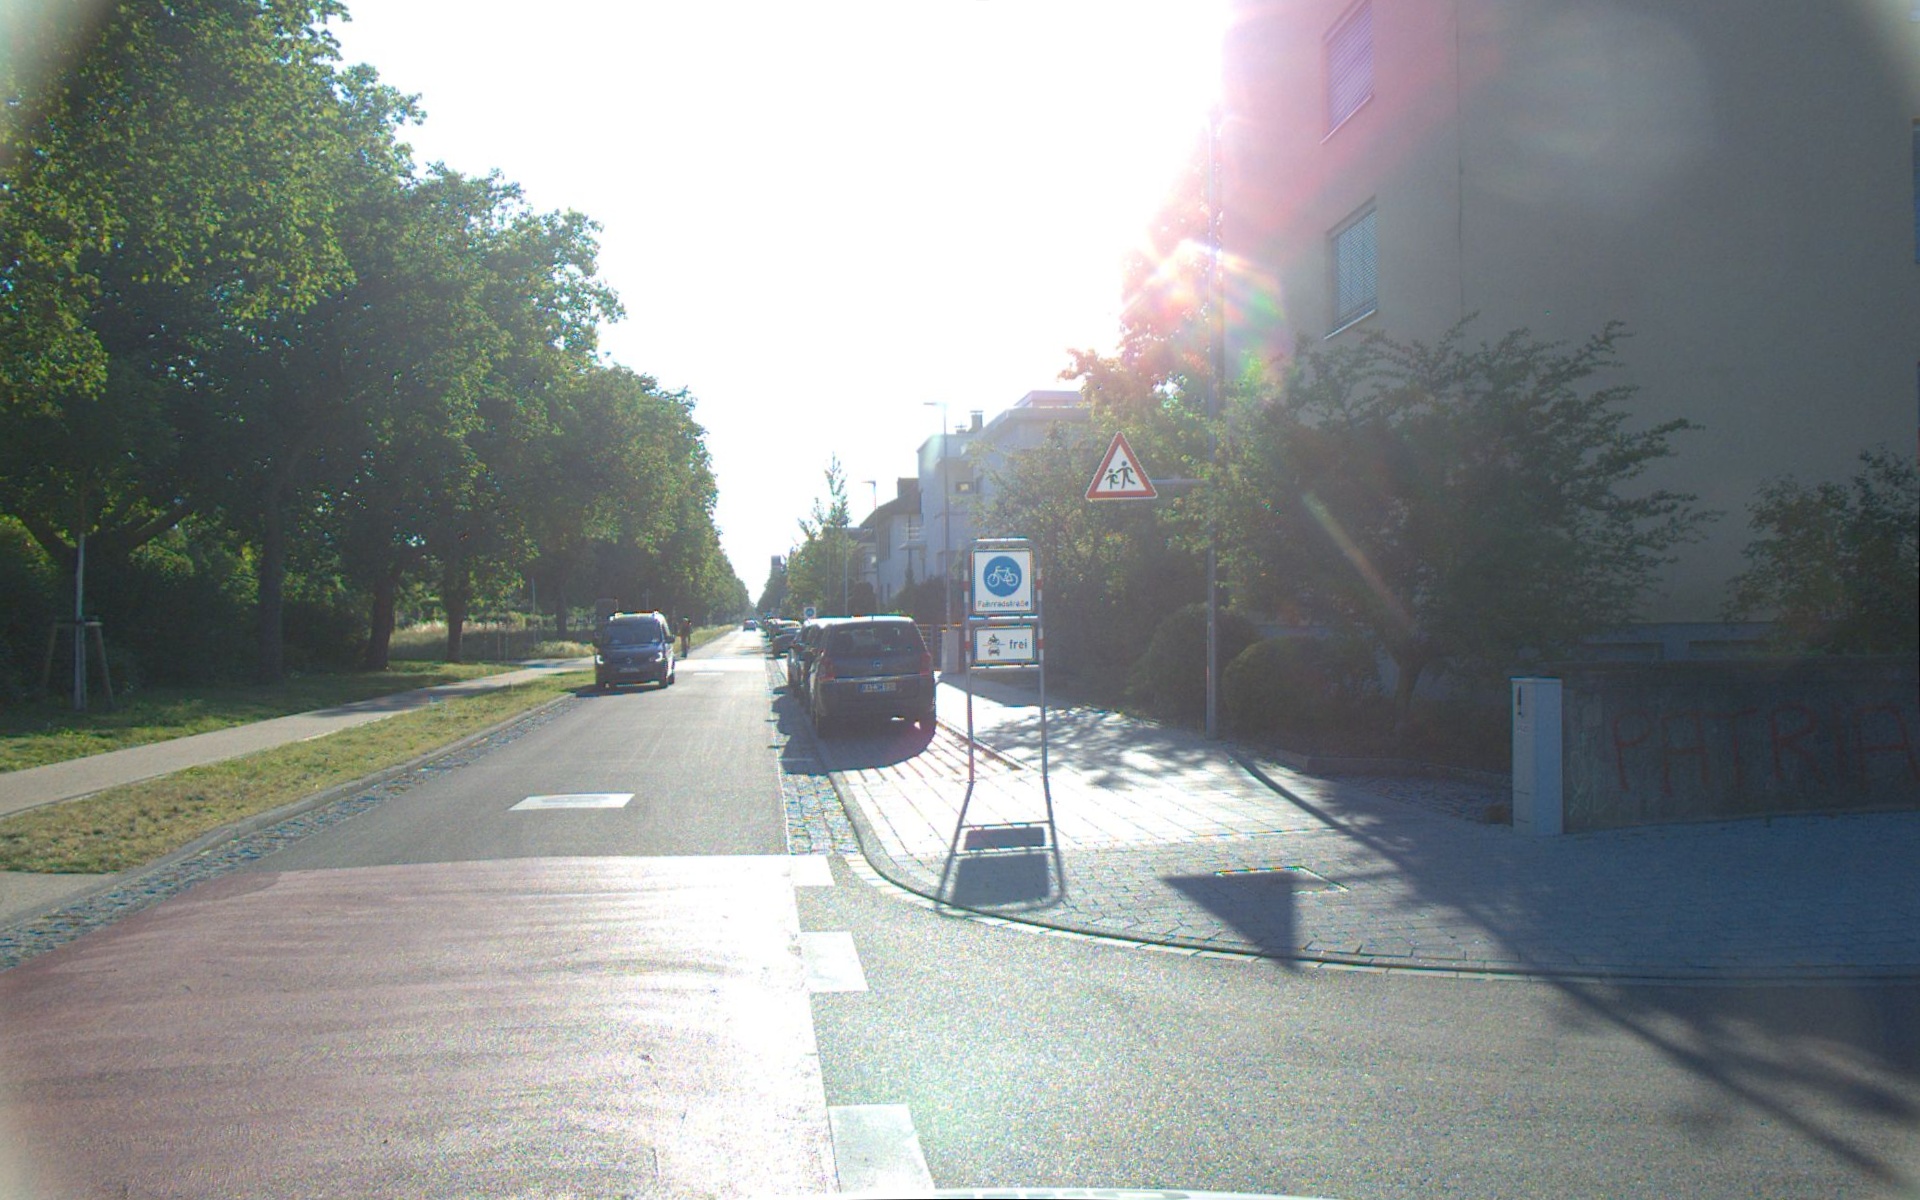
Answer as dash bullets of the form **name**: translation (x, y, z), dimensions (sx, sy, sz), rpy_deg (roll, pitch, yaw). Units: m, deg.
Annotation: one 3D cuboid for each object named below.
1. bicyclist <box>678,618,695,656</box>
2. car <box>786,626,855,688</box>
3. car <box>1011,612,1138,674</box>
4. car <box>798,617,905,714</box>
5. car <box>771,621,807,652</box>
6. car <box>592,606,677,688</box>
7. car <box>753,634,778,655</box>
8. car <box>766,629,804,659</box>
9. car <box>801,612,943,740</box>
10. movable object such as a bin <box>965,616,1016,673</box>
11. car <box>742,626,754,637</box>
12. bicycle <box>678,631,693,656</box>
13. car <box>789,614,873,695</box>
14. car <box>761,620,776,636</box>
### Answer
- **bicyclist**: translation (-12.296, 1.671, 74.331), dimensions (0.669, 1.702, 1.170), rpy_deg (-2, -2, -8)
- **car**: translation (-3.550, 1.384, 41.546), dimensions (1.534, 1.414, 4.367), rpy_deg (-2, -1, -7)
- **car**: translation (3.157, 1.190, 46.034), dimensions (3.421, 1.670, 1.643), rpy_deg (-1, -1, 0)
- **car**: translation (-2.053, 1.149, 30.313), dimensions (1.647, 1.583, 4.137), rpy_deg (-2, -1, -8)
- **car**: translation (-9.226, 1.961, 88.960), dimensions (1.712, 1.500, 3.914), rpy_deg (-4, 0, -8)
- **car**: translation (-8.151, 1.165, 41.729), dimensions (1.809, 1.880, 4.564), rpy_deg (-2, -1, -8)
- **car**: translation (-14.734, 3.342, 125.031), dimensions (1.704, 1.474, 4.188), rpy_deg (-2, -1, -8)
- **car**: translation (-8.246, 2.030, 77.666), dimensions (1.741, 1.311, 4.265), rpy_deg (0, -1, -7)
- **car**: translation (-1.390, 1.053, 24.587), dimensions (1.678, 1.639, 4.160), rpy_deg (-3, 0, -8)
- **movable object such as a bin**: translation (0.776, 1.144, 42.731), dimensions (1.213, 1.457, 1.122), rpy_deg (0, -1, -5)
- **car**: translation (-29.962, 4.418, 233.443), dimensions (1.620, 1.568, 3.261), rpy_deg (0, -1, -7)
- **bicycle**: translation (-12.318, 1.952, 74.291), dimensions (0.546, 1.050, 1.911), rpy_deg (-1, -1, -8)
- **car**: translation (-2.828, 1.139, 35.669), dimensions (1.646, 1.583, 4.124), rpy_deg (-2, -1, -6)
- **car**: translation (-20.174, 2.952, 174.197), dimensions (1.469, 1.594, 3.262), rpy_deg (-1, -1, -6)
